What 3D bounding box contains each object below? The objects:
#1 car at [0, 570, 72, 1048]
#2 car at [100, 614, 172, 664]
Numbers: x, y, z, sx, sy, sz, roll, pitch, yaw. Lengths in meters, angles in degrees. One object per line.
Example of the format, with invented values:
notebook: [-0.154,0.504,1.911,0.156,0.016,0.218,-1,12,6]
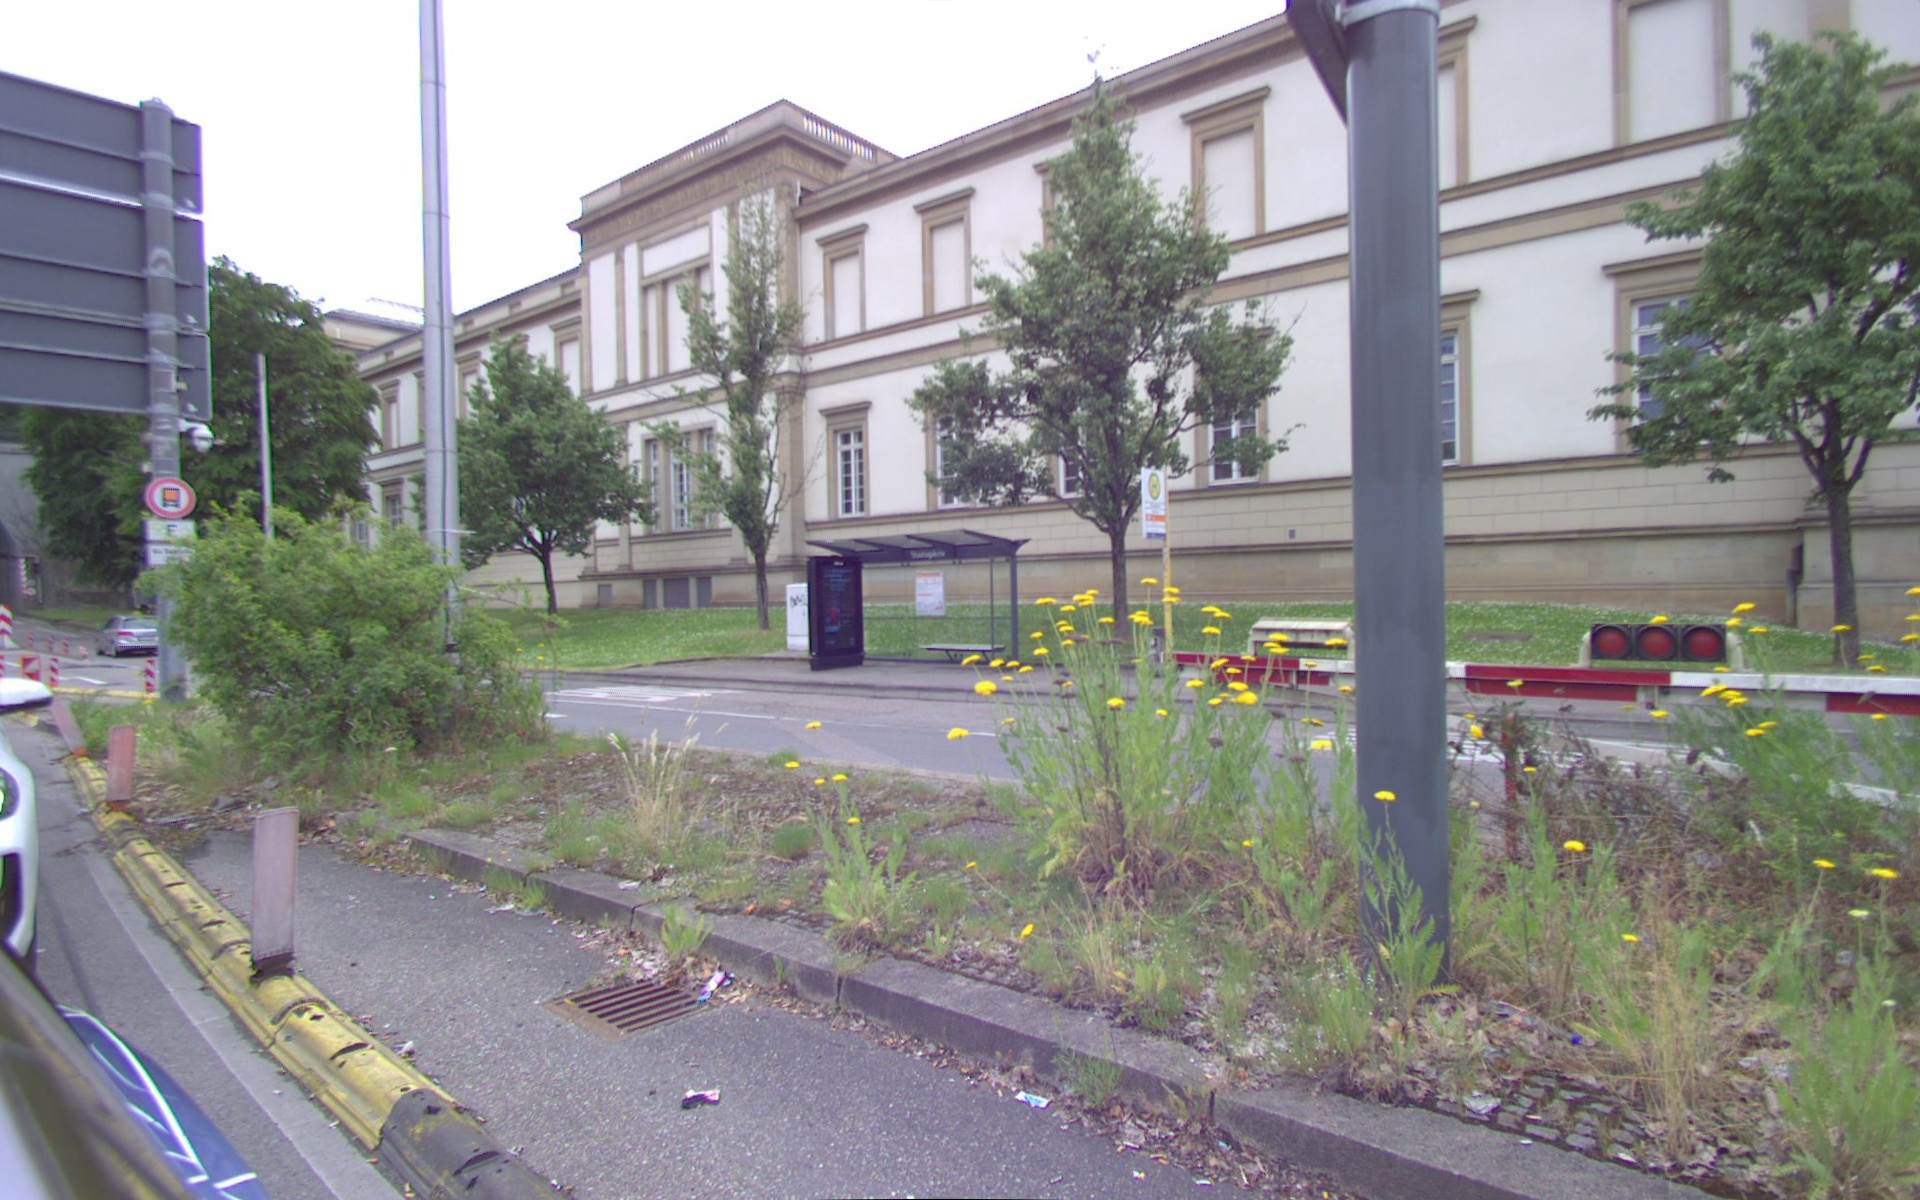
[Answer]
car: [-5.194,0.741,4.082,3.668,1.637,1.962,-1,0,41]
car: [-31.297,1.431,38.416,1.810,1.759,4.003,-1,0,-44]
